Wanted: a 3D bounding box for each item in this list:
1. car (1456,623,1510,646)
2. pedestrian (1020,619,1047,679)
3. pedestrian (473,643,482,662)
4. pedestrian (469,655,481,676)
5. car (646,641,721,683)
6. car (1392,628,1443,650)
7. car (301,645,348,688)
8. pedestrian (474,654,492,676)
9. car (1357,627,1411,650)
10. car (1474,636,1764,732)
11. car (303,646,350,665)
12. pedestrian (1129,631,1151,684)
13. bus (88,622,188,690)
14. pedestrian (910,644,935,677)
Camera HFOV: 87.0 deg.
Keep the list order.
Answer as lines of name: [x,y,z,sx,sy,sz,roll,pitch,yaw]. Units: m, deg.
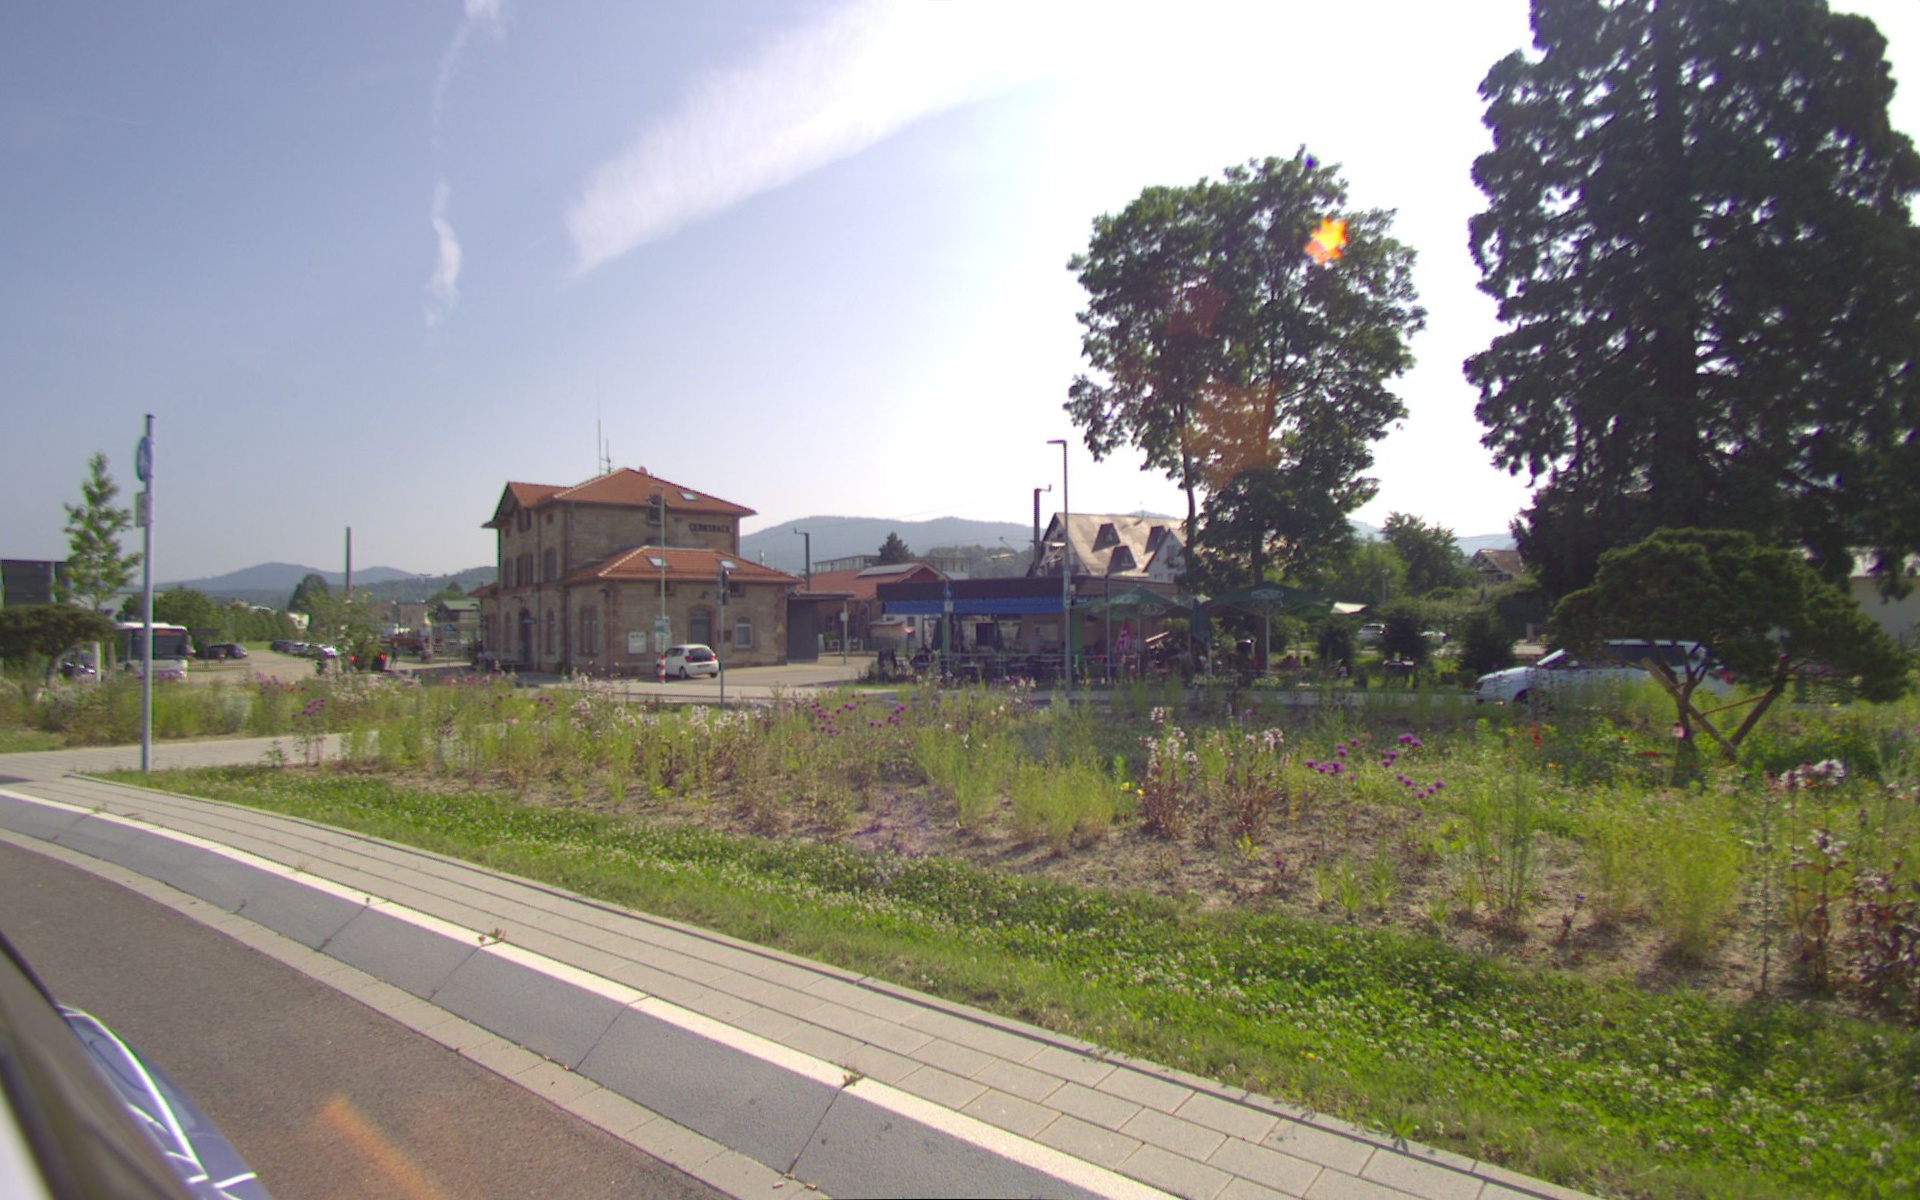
car: [31.562,2.077,61.051,3.476,1.186,1.501,-3,-1,-38]
pedestrian: [2.574,1.721,35.440,0.703,2.029,0.854,-3,0,17]
pedestrian: [-29.963,3.264,62.791,0.366,1.171,0.507,-2,0,-38]
pedestrian: [-27.935,3.750,58.317,0.504,1.171,0.507,-2,0,-38]
car: [-12.286,2.710,44.841,1.655,1.580,3.654,-2,1,-44]
car: [27.089,2.301,59.918,3.134,1.106,1.383,-3,-1,-38]
car: [-34.583,3.573,55.203,1.945,1.979,5.173,-3,0,-30]
pedestrian: [-26.595,3.622,56.478,0.778,1.171,0.507,-2,0,-38]
car: [26.085,2.343,62.173,3.476,1.186,1.501,-3,-1,-38]
car: [11.449,1.428,17.925,3.971,1.543,1.663,-1,-3,21]
car: [-69.450,6.074,111.022,1.832,1.740,3.957,-3,0,32]
pedestrian: [5.620,1.777,31.564,0.563,1.602,0.646,-3,0,17]
bus: [-45.630,3.061,56.001,10.584,3.354,2.553,-3,0,42]
pedestrian: [-1.377,2.224,37.247,0.678,1.172,0.554,-3,0,29]
